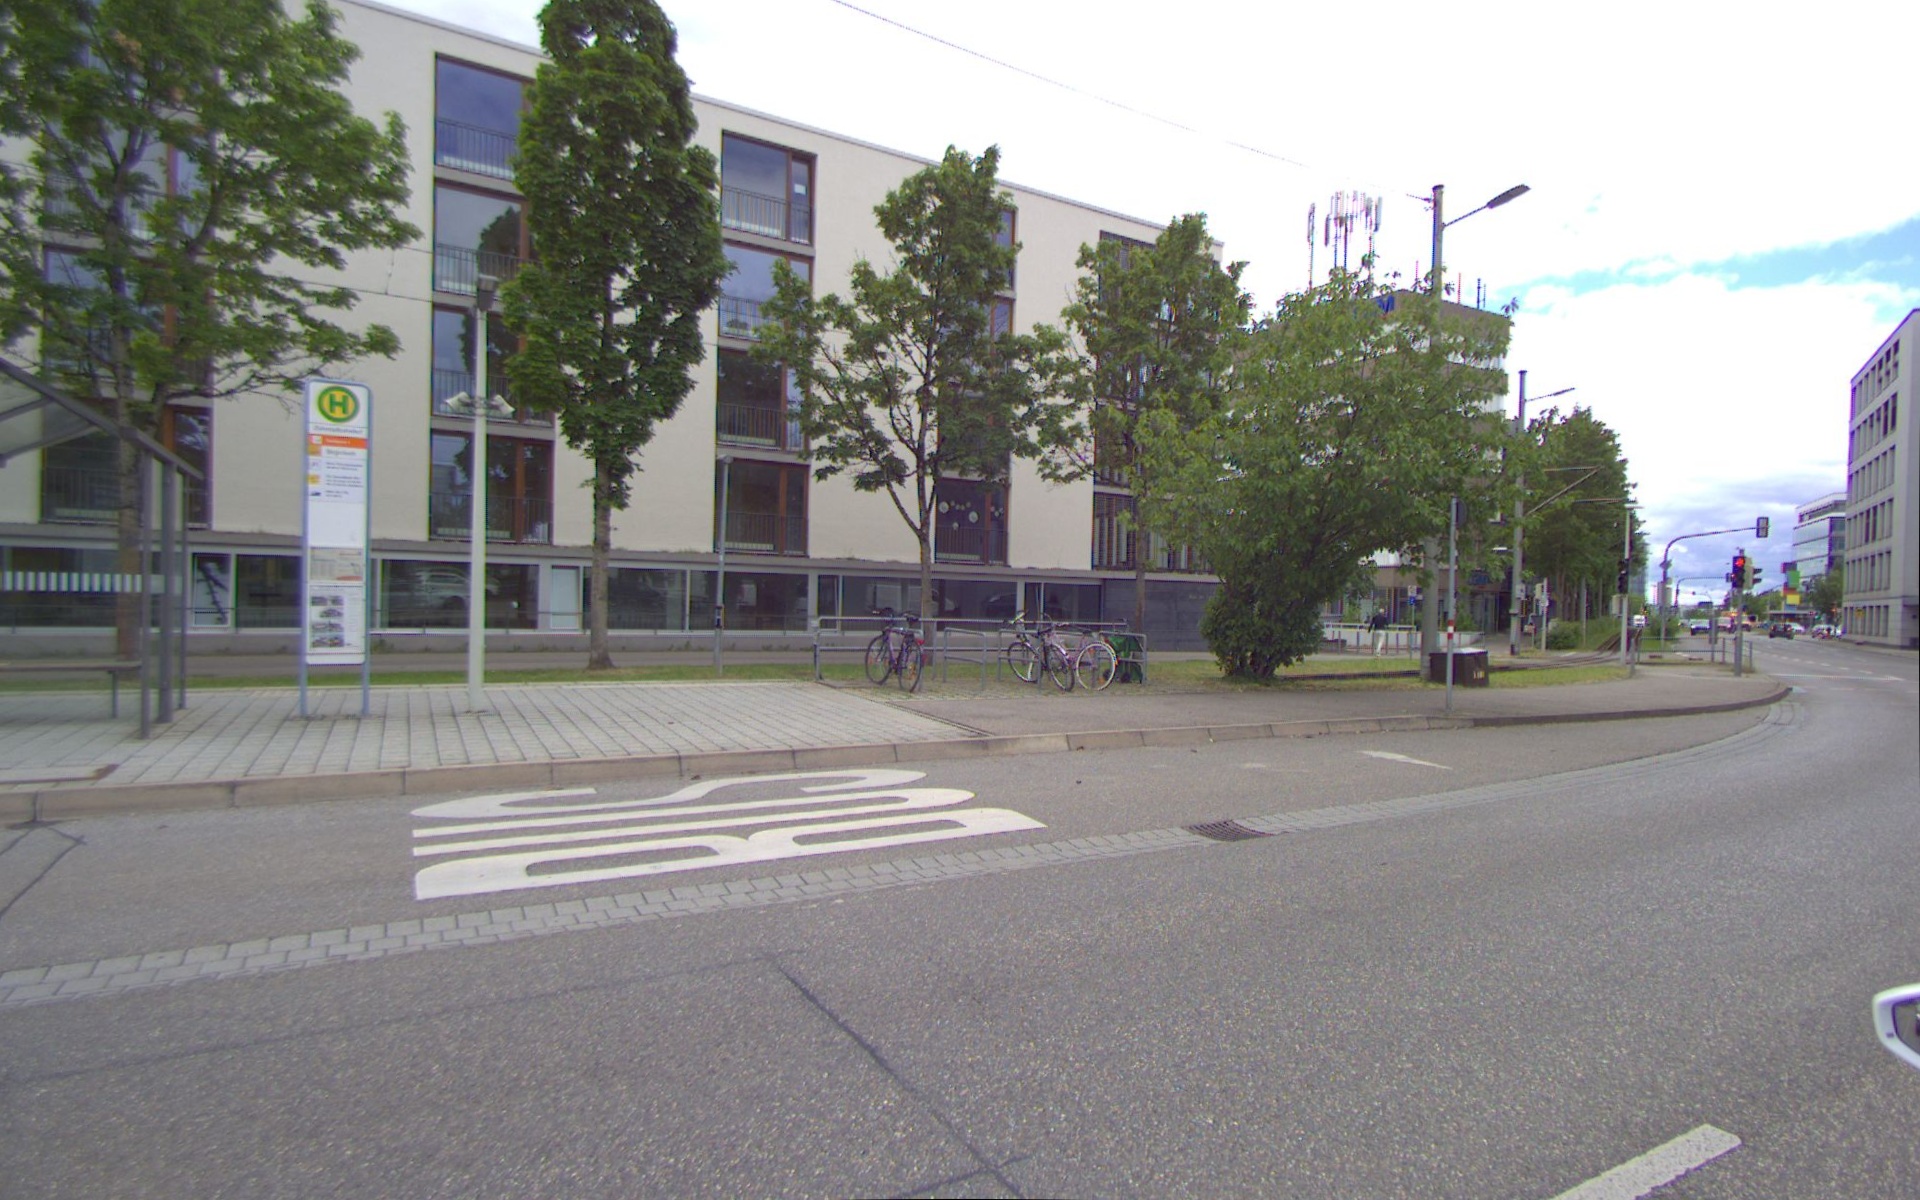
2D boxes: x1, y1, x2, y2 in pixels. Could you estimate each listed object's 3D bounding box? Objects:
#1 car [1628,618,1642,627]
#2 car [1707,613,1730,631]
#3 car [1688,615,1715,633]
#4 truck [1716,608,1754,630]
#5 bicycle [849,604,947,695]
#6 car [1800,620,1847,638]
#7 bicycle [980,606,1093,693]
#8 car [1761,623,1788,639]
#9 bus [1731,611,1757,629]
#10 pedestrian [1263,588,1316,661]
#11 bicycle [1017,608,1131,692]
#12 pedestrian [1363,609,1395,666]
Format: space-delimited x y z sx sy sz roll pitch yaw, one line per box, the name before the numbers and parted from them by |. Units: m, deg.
car | 141.149 4.625 209.962 1.886 1.748 4.163 3 2 28
car | 85.514 2.512 113.224 1.830 1.948 3.981 2 0 40
car | 74.139 2.396 100.440 1.830 1.718 3.980 2 0 41
truck | 106.909 2.628 138.635 2.532 2.863 6.985 1 0 24
bicycle | -0.906 0.658 14.049 0.580 1.121 1.920 1 1 -29
car | 95.012 3.173 110.578 1.821 1.783 4.000 1 0 1
bicycle | 1.093 0.697 14.980 0.624 1.121 2.089 1 1 -29
car | 81.517 3.064 100.477 1.878 1.506 3.979 1 0 42
bus | 148.665 3.770 190.493 3.041 2.968 10.310 3 2 34
pedestrian | 9.746 0.716 29.711 0.903 2.041 1.048 2 3 -29
bicycle | 1.704 0.728 15.354 0.624 1.121 2.090 1 1 -28
pedestrian | 15.707 1.383 37.669 0.758 2.041 0.885 5 3 41
